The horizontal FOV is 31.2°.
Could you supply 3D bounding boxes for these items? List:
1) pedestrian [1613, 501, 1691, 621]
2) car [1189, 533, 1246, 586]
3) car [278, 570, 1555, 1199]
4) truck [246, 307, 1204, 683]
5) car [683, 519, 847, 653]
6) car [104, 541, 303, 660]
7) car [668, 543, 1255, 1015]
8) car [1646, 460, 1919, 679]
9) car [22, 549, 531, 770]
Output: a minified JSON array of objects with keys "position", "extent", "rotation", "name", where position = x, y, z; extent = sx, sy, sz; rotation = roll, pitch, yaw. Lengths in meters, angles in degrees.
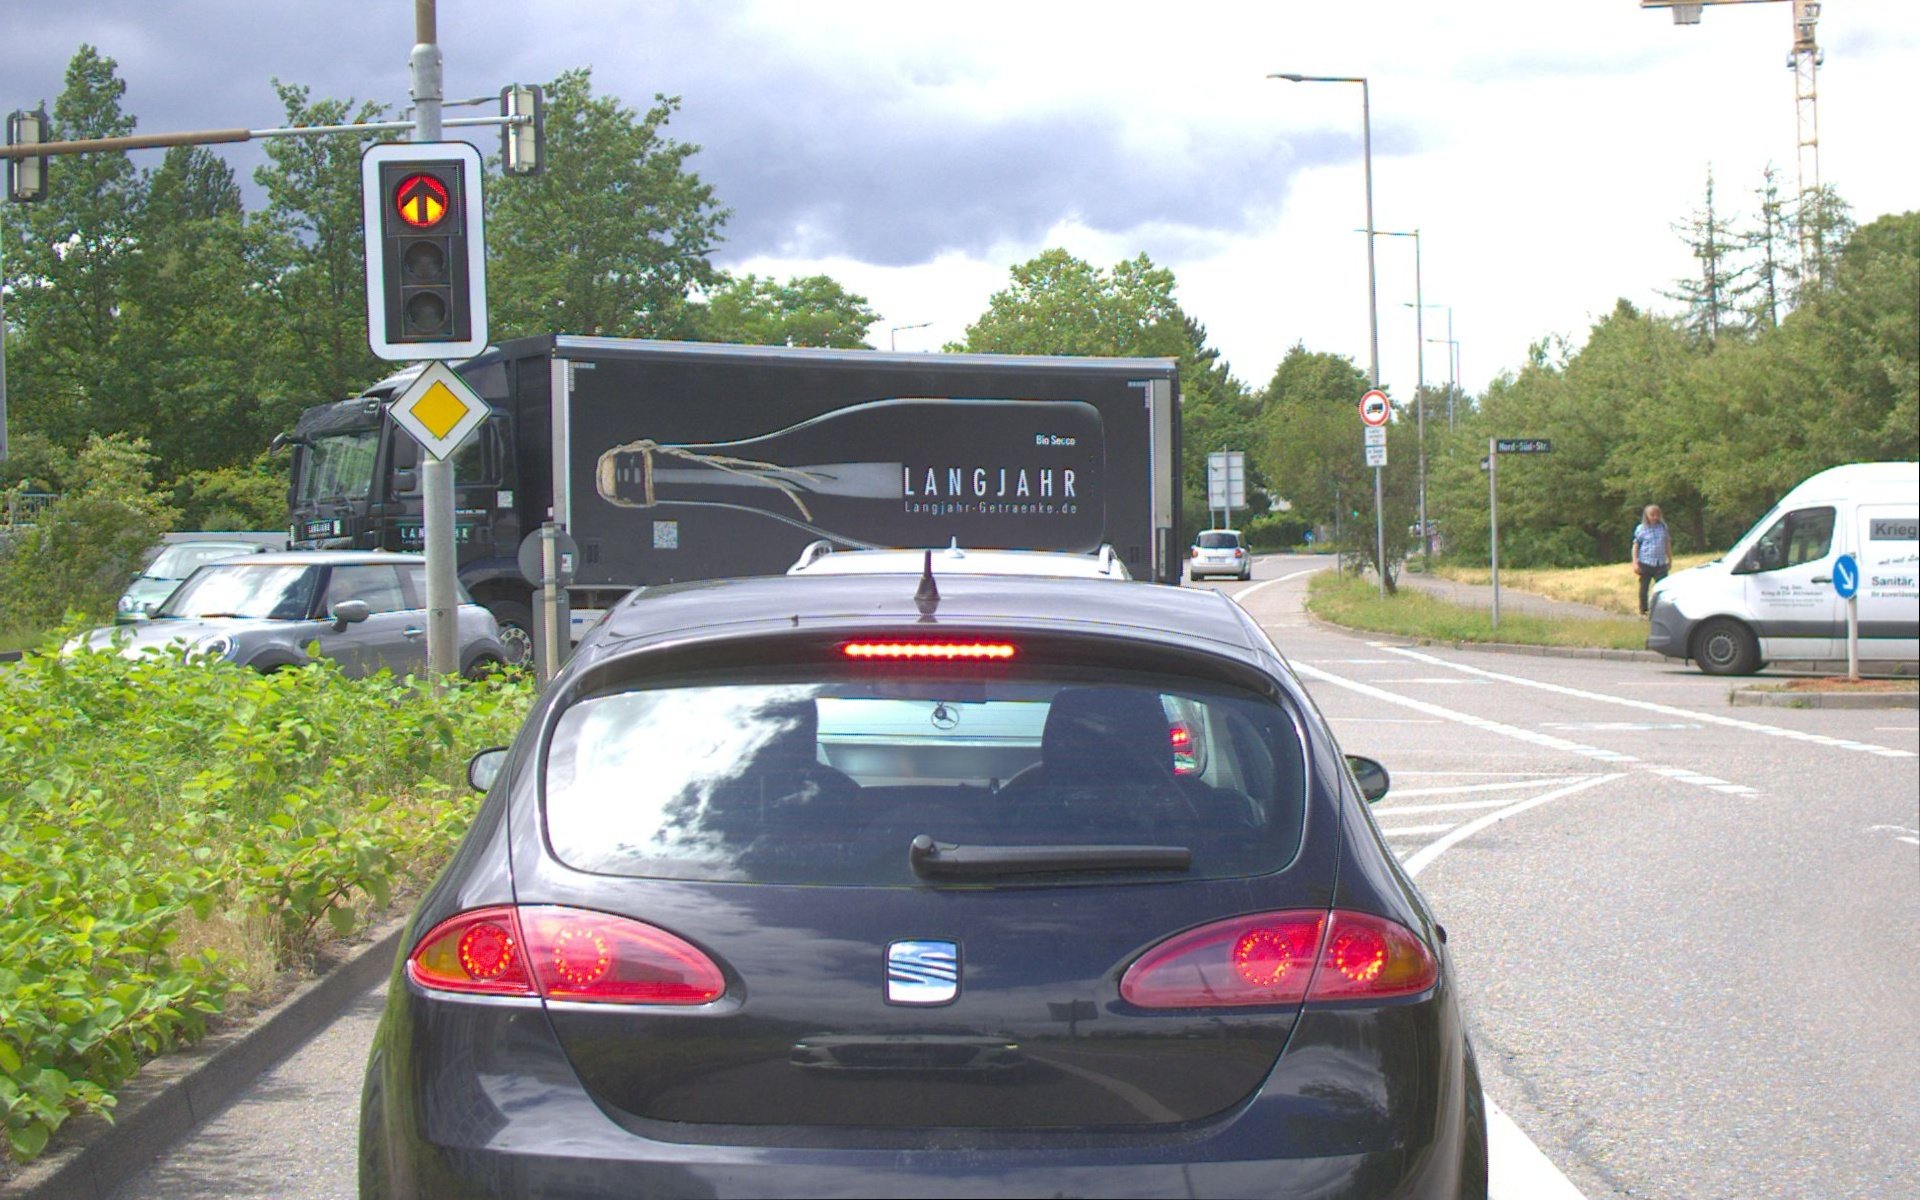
[{"position":[10.469,-0.589,52.046],"extent":[0.718,1.786,1.044],"rotation":[1,0,-18],"name":"pedestrian"},{"position":[8.007,-1.251,106.596],"extent":[1.667,1.590,3.999],"rotation":[1,1,5],"name":"car"},{"position":[-0.076,0.679,6.362],"extent":[1.711,1.412,3.459],"rotation":[1,1,0],"name":"car"},{"position":[-2.315,-0.998,35.884],"extent":[9.494,3.506,3.178],"rotation":[0,2,-31],"name":"truck"},{"position":[-2.569,-0.238,46.214],"extent":[1.820,1.681,4.645],"rotation":[1,1,1],"name":"car"},{"position":[-9.530,-0.024,43.561],"extent":[1.605,1.427,3.752],"rotation":[0,1,2],"name":"car"},{"position":[0.026,0.546,12.731],"extent":[1.834,1.462,3.751],"rotation":[1,1,1],"name":"car"},{"position":[11.212,-0.360,40.622],"extent":[5.821,2.509,2.131],"rotation":[1,0,20],"name":"car"},{"position":[-4.814,0.374,24.670],"extent":[1.691,1.425,3.630],"rotation":[0,1,27],"name":"car"}]
